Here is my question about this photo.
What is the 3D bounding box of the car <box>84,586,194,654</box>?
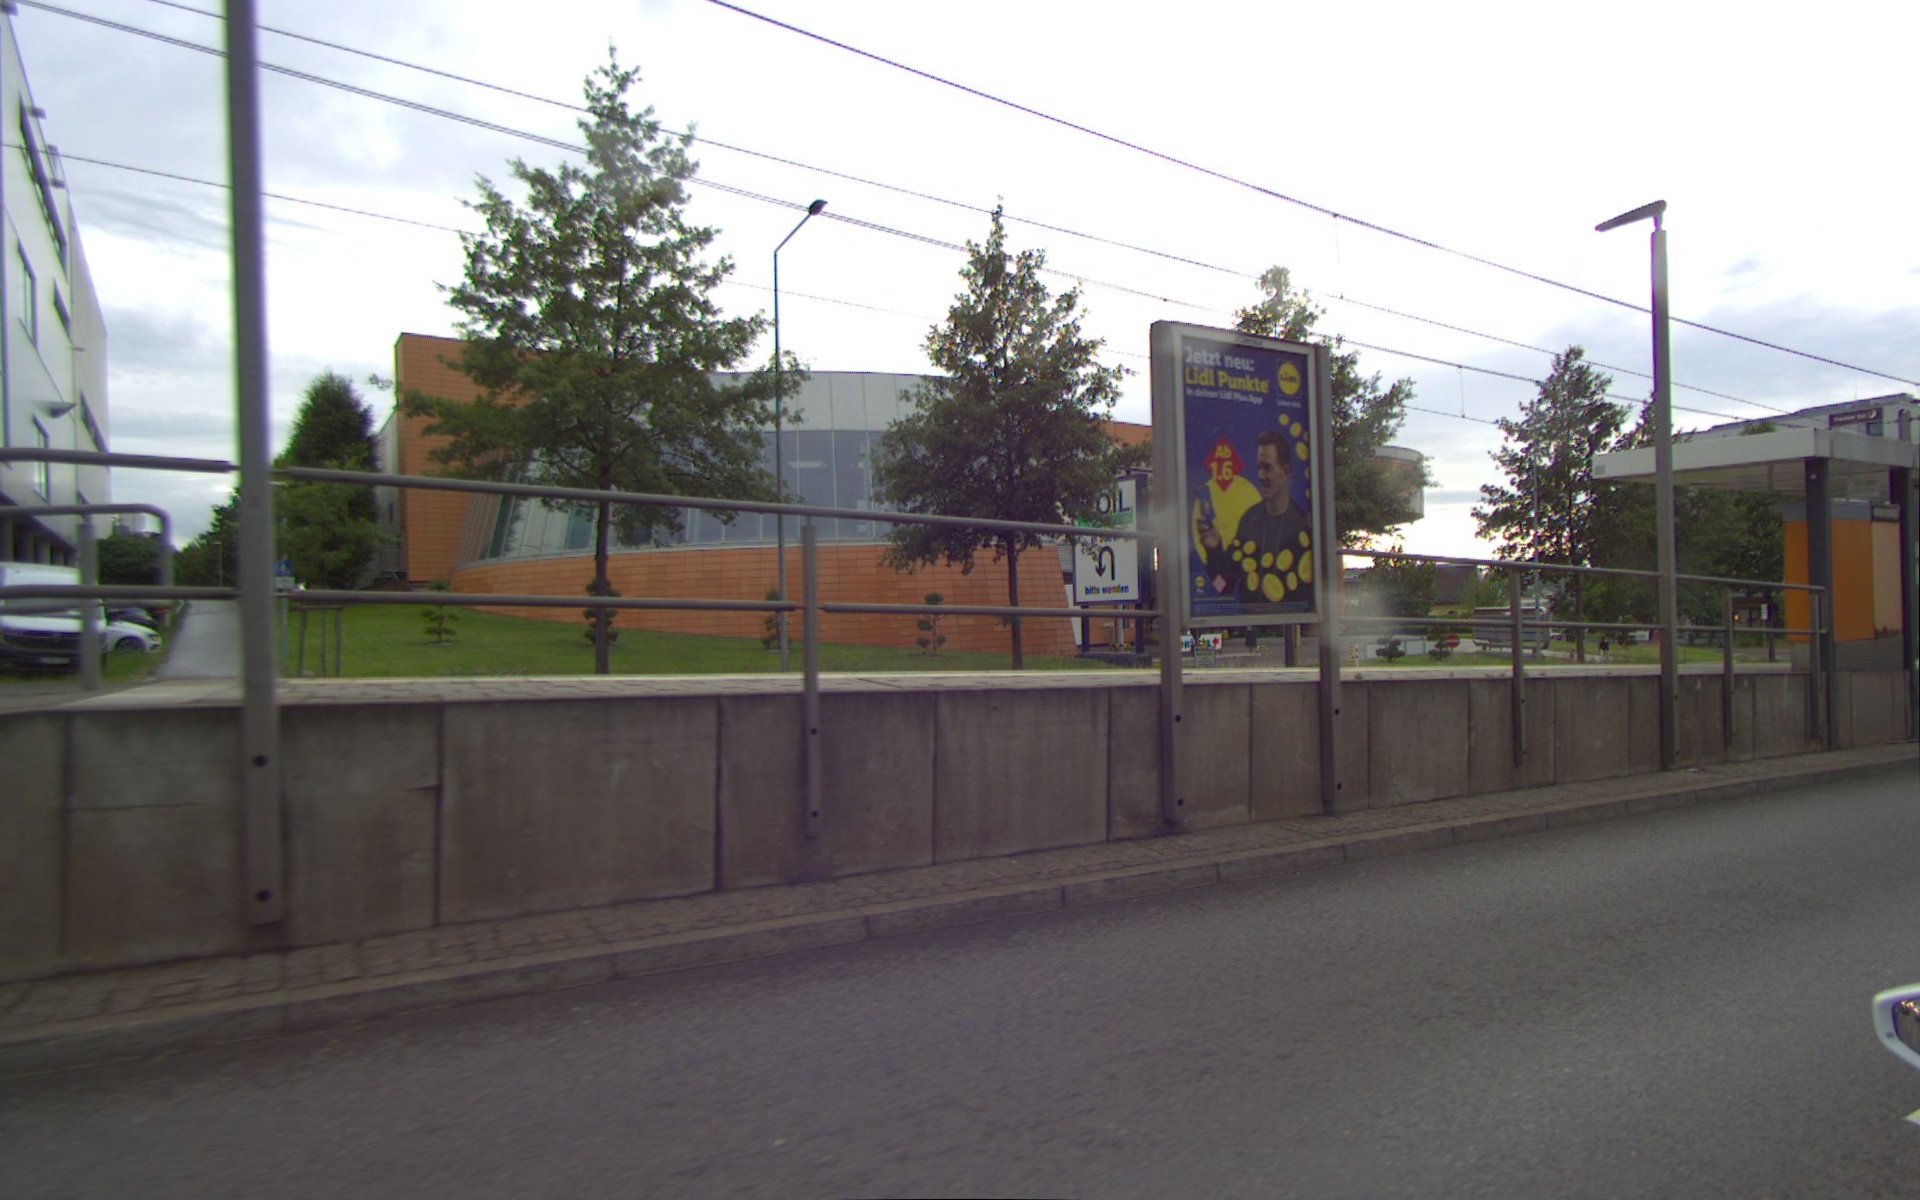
[{"bbox_3d":[-25.790,0.578,31.744,2.257,1.952,5.429,2,0,-35],"label":"car"}]

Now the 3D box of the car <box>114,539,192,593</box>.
[{"bbox_3d":[-41.321,-1.678,51.586,2.721,2.528,5.429,2,0,-35],"label":"car"}]

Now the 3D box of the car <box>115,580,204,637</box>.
[{"bbox_3d":[-29.920,0.292,37.696,2.257,1.952,5.429,2,0,-35],"label":"car"}]

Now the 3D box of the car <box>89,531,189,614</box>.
[{"bbox_3d":[-36.133,-1.153,44.418,2.972,3.315,5.429,2,0,-35],"label":"car"}]

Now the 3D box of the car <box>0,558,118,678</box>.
[{"bbox_3d":[-22.690,0.377,24.815,5.407,2.664,2.266,1,0,43],"label":"car"}]

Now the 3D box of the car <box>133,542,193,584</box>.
[{"bbox_3d":[-51.850,-2.368,65.481,2.721,2.528,5.429,2,0,-35],"label":"car"}]
